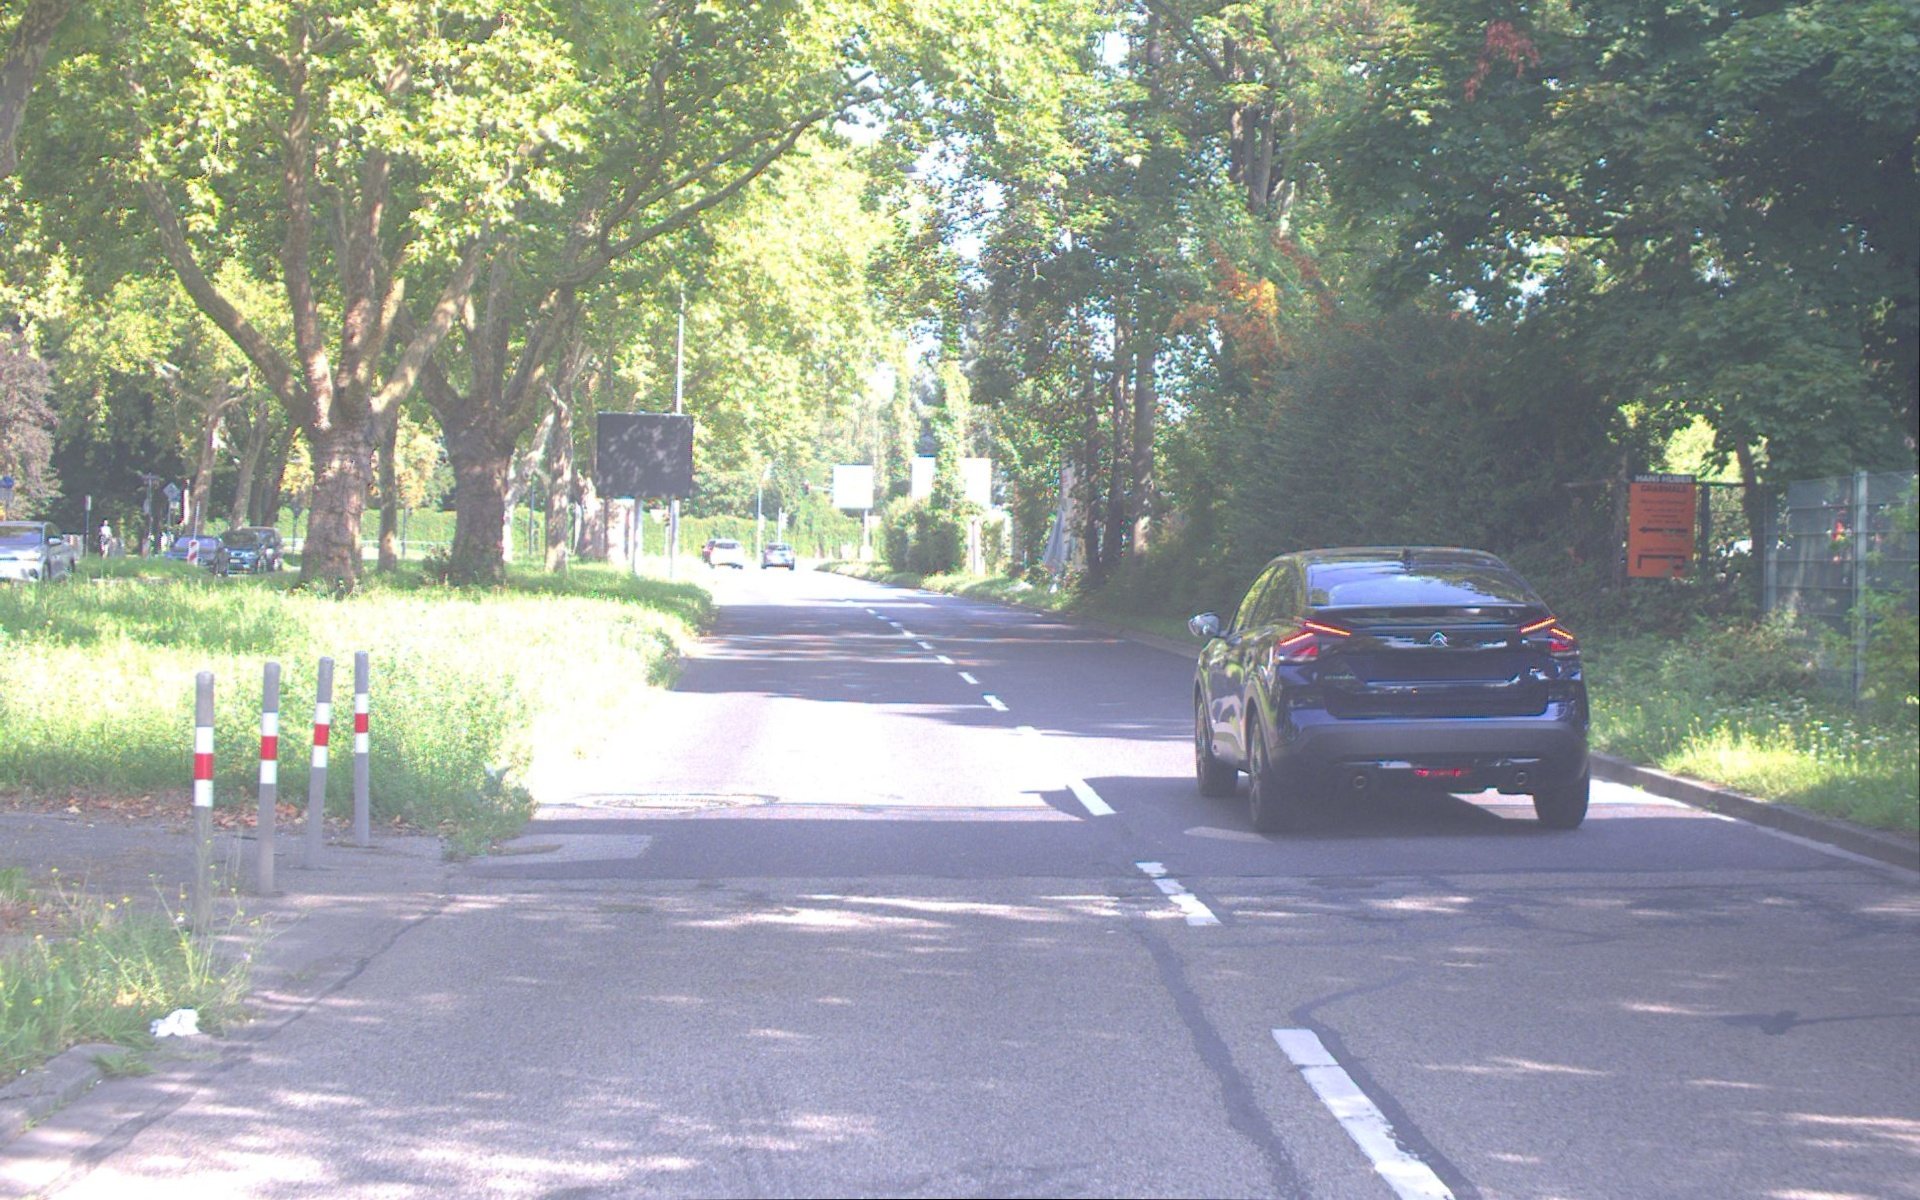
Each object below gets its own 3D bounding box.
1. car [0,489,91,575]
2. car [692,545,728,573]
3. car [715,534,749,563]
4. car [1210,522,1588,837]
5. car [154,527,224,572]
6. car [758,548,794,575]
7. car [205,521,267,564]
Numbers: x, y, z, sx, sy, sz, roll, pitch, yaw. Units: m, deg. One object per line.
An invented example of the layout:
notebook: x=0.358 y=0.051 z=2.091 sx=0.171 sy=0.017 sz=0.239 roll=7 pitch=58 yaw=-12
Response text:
car: x=-19.535 y=-1.433 z=71.709 sx=1.802 sy=1.714 sz=4.720 roll=1 pitch=1 yaw=-3
car: x=-13.900 y=-2.276 z=191.148 sx=1.687 sy=1.457 sz=3.850 roll=2 pitch=1 yaw=-1
car: x=-11.836 y=-2.675 z=178.401 sx=1.687 sy=1.457 sz=4.001 roll=2 pitch=1 yaw=-4
car: x=2.386 y=0.379 z=19.600 sx=1.645 sy=1.583 sz=4.255 roll=1 pitch=1 yaw=1
car: x=-26.811 y=-1.769 z=119.669 sx=1.699 sy=1.503 sz=4.541 roll=1 pitch=1 yaw=-4
car: x=-10.125 y=-2.126 z=189.325 sx=1.797 sy=1.396 sz=4.001 roll=2 pitch=1 yaw=-5
car: x=-26.988 y=-2.149 z=128.245 sx=1.699 sy=1.562 sz=4.001 roll=1 pitch=1 yaw=-4
